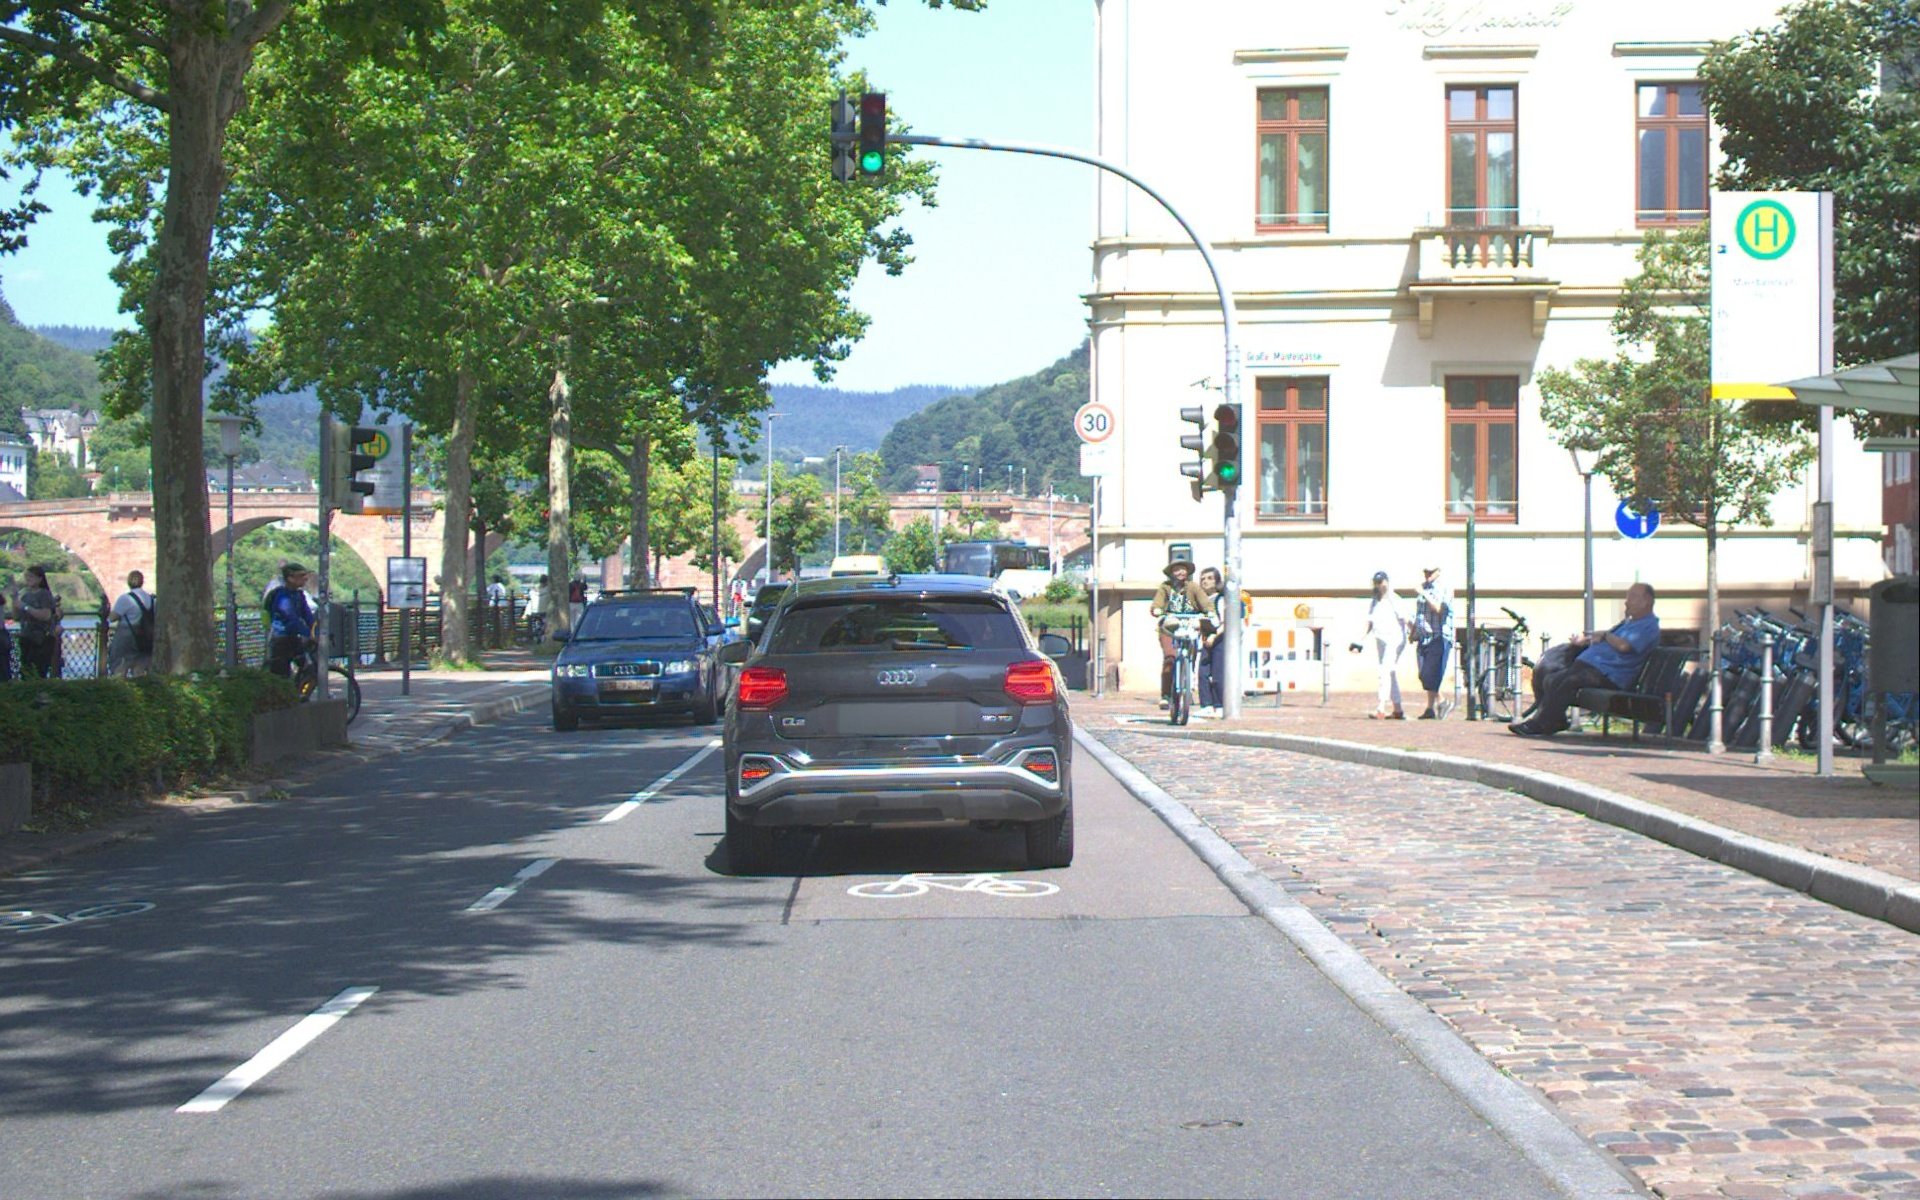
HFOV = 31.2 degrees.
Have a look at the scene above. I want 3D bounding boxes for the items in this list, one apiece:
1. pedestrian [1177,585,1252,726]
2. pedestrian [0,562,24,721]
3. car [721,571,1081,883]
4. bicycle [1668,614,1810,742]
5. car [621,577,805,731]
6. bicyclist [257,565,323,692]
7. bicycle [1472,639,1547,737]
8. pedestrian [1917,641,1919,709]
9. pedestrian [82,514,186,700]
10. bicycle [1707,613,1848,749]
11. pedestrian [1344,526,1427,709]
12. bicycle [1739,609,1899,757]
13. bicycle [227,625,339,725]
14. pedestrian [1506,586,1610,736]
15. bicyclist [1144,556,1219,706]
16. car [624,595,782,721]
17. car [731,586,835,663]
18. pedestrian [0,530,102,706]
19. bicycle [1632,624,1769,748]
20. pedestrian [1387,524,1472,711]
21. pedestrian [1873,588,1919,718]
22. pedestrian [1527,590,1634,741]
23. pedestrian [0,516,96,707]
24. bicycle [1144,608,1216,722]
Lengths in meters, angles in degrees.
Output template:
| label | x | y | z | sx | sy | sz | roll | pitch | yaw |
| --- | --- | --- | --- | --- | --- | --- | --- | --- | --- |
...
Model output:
| label | x | y | z | sx | sy | sz | roll | pitch | yaw |
| --- | --- | --- | --- | --- | --- | --- | --- | --- | --- |
| pedestrian | 2.772 | 0.604 | 37.481 | 0.693 | 1.495 | 0.514 | 2 | 0 | -4 |
| pedestrian | -10.014 | 0.411 | 35.138 | 0.625 | 1.613 | 0.585 | 2 | 0 | 4 |
| car | -0.294 | 0.605 | 18.582 | 1.743 | 1.504 | 3.647 | 0 | 1 | 0 |
| bicycle | 6.533 | 0.657 | 28.839 | 1.201 | 1.032 | 0.179 | 3 | -1 | -18 |
| car | -2.762 | 0.571 | 39.047 | 1.793 | 1.589 | 3.399 | 3 | 0 | 0 |
| bicyclist | -7.043 | 0.297 | 36.161 | 0.566 | 1.307 | 0.552 | 2 | 0 | -4 |
| bicycle | 5.654 | 0.900 | 35.388 | 0.298 | 0.960 | 1.188 | 3 | 0 | -13 |
| pedestrian | 17.765 | 0.982 | 61.783 | 0.839 | 2.007 | 0.738 | 2 | 0 | 0 |
| pedestrian | -9.188 | 0.079 | 38.257 | 0.911 | 2.007 | 0.585 | 2 | -1 | 4 |
| bicycle | 6.674 | 0.661 | 28.068 | 1.157 | 1.066 | 0.179 | 3 | -1 | -18 |
| pedestrian | 4.772 | 0.197 | 38.508 | 0.640 | 2.007 | 0.664 | 2 | -1 | 29 |
| bicycle | 6.839 | 0.661 | 27.355 | 1.303 | 1.124 | 0.179 | 3 | -1 | -18 |
| bicycle | -7.117 | 0.788 | 36.136 | 1.093 | 1.003 | 0.304 | 2 | -1 | -6 |
| pedestrian | 5.054 | 0.509 | 29.083 | 0.663 | 1.227 | 0.641 | 2 | 0 | -6 |
| bicyclist | 2.188 | 0.303 | 34.037 | 0.605 | 1.445 | 0.591 | 2 | 0 | -5 |
| car | -3.956 | 0.880 | 53.537 | 1.993 | 1.800 | 4.000 | 2 | 0 | 1 |
| car | -3.973 | 0.553 | 77.910 | 1.993 | 1.620 | 4.000 | 2 | 0 | 1 |
| pedestrian | -9.635 | 0.189 | 36.288 | 0.911 | 1.805 | 0.585 | 2 | 0 | 4 |
| bicycle | 6.353 | 0.739 | 29.493 | 1.184 | 1.012 | 0.179 | 3 | -1 | -18 |
| pedestrian | 5.133 | 0.192 | 37.587 | 0.640 | 2.007 | 0.664 | 2 | -1 | 29 |
| pedestrian | 14.979 | 0.845 | 54.102 | 0.944 | 2.007 | 0.807 | 2 | 0 | 0 |
| pedestrian | 5.117 | 0.533 | 28.373 | 0.663 | 1.207 | 0.641 | 2 | 0 | -6 |
| pedestrian | -9.926 | 0.122 | 37.154 | 0.911 | 2.007 | 0.585 | 2 | -1 | 4 |
| bicycle | 2.170 | 0.627 | 34.014 | 0.437 | 1.082 | 1.677 | 2 | 0 | -4 |
